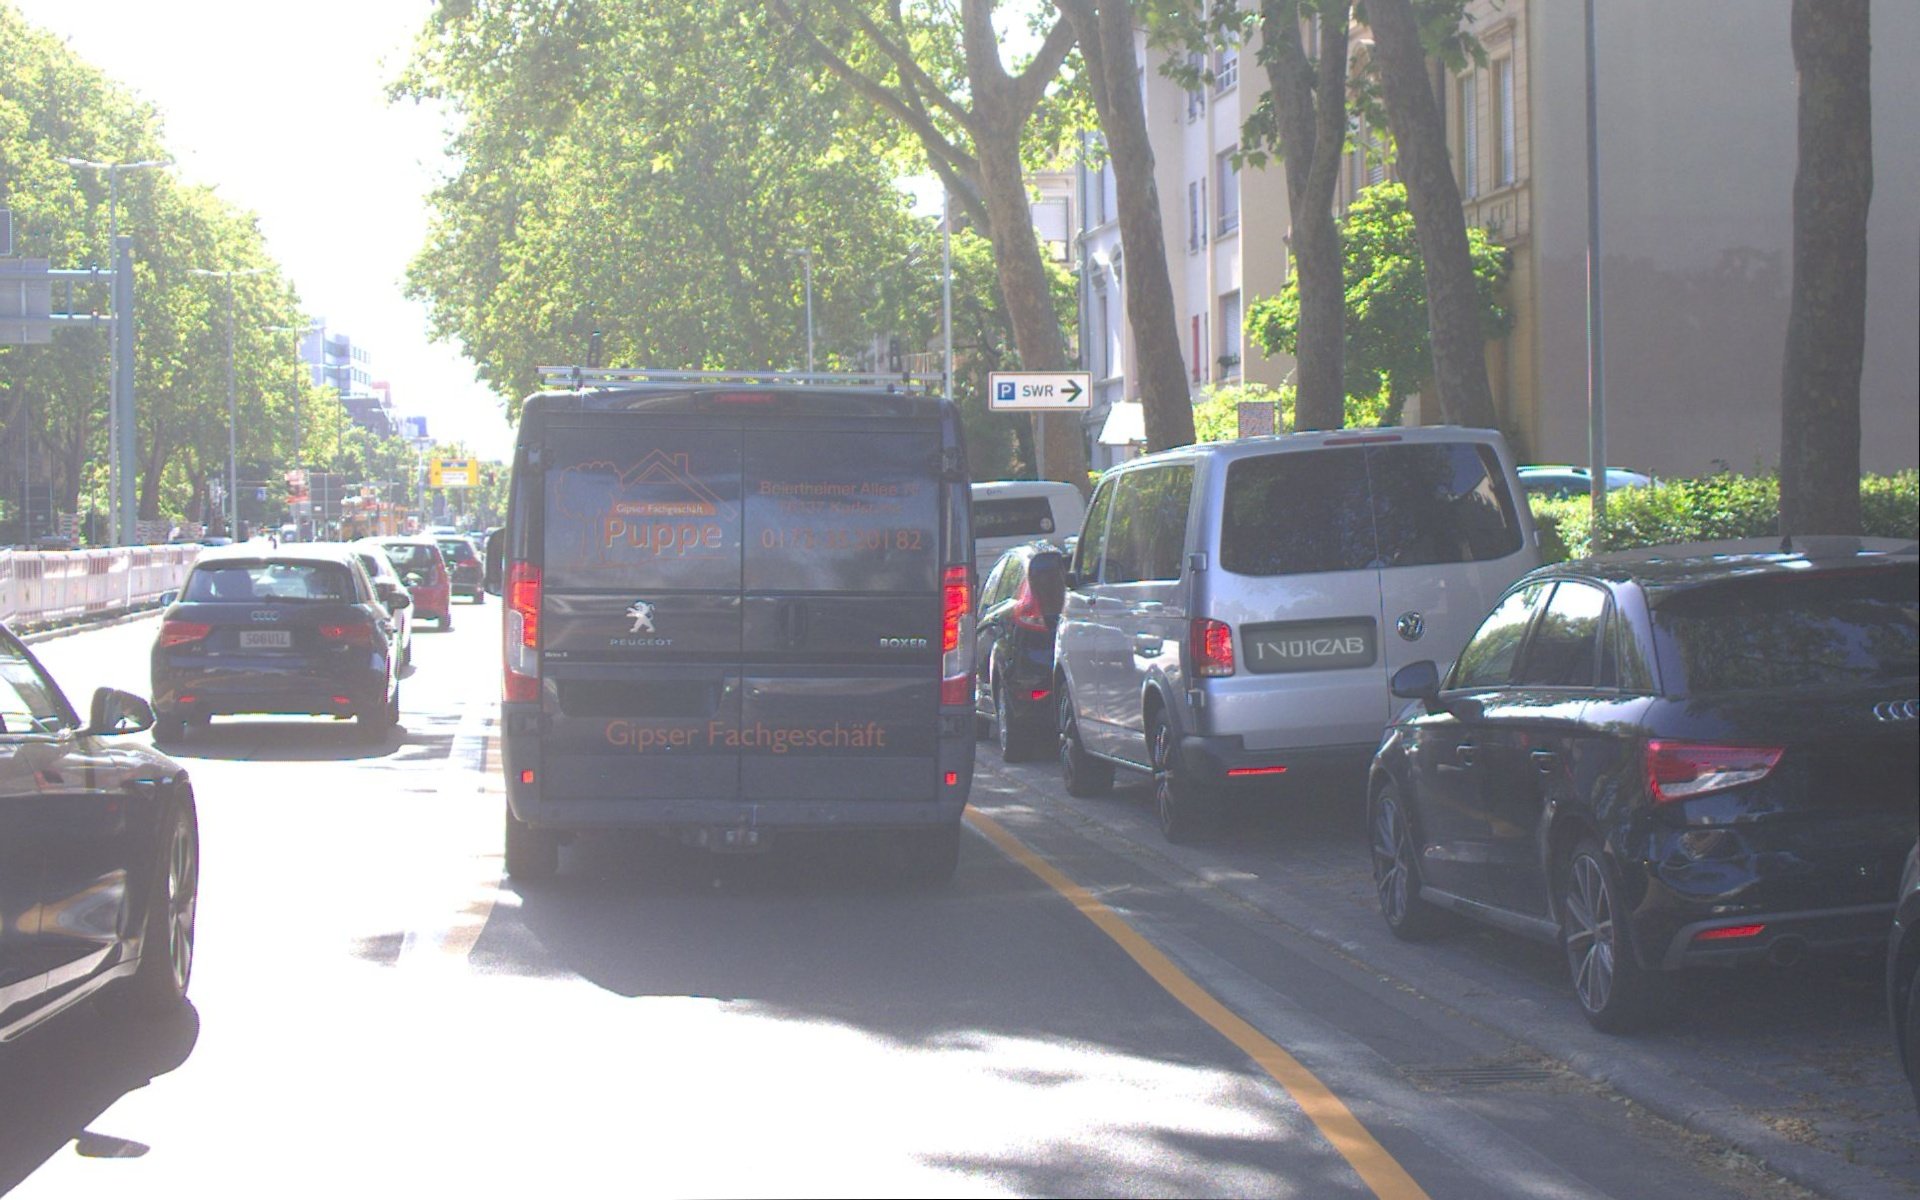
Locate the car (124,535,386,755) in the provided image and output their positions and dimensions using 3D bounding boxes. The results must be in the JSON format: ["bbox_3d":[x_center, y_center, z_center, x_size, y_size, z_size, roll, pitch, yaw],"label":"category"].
[{"bbox_3d":[-5.221,0.281,25.847,1.746,1.402,4.002,1,3,-9],"label":"car"}]

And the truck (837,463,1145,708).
[{"bbox_3d":[0.170,-0.150,29.271,1.876,1.875,4.455,-2,1,-9],"label":"truck"}]

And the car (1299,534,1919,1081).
[{"bbox_3d":[2.445,0.546,11.778,1.657,1.535,4.129,0,1,-7],"label":"car"}]

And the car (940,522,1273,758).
[{"bbox_3d":[0.934,0.216,24.122,1.747,1.472,4.102,-1,1,-6],"label":"car"}]

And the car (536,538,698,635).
[{"bbox_3d":[-4.707,-0.214,46.784,1.993,1.245,4.001,0,1,-9],"label":"car"}]

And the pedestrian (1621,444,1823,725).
[{"bbox_3d":[4.472,-0.104,20.239,0.727,1.597,1.268,-1,1,-10],"label":"pedestrian"}]

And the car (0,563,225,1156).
[{"bbox_3d":[-3.329,0.632,9.160,1.925,1.407,4.626,0,1,-2],"label":"car"}]

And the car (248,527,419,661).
[{"bbox_3d":[-6.988,-0.092,38.606,1.547,1.420,3.556,0,1,-5],"label":"car"}]

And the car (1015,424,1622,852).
[{"bbox_3d":[1.704,0.117,18.421,2.025,1.940,5.275,-1,1,-8],"label":"car"}]

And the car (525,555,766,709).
[{"bbox_3d":[-2.893,0.241,30.927,1.918,1.245,4.001,-1,1,-9],"label":"car"}]

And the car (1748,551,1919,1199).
[{"bbox_3d":[3.176,0.663,6.839,1.763,1.503,4.252,0,1,-7],"label":"car"}]

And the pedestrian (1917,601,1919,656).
[{"bbox_3d":[6.710,-0.424,22.216,0.705,1.643,0.675,2,3,-10],"label":"pedestrian"}]

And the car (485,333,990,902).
[{"bbox_3d":[-1.130,0.014,16.262,2.095,2.347,3.934,0,2,-6],"label":"car"}]

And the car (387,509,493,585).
[{"bbox_3d":[-11.344,-1.169,75.220,1.993,1.583,4.001,-1,1,-5],"label":"car"}]

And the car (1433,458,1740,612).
[{"bbox_3d":[7.845,-0.821,43.245,1.705,1.847,3.506,0,1,-40],"label":"car"}]

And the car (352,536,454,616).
[{"bbox_3d":[-8.921,-0.399,55.226,1.421,1.221,3.439,-1,1,-6],"label":"car"}]

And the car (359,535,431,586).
[{"bbox_3d":[-17.591,-1.244,107.088,1.993,1.465,4.001,1,2,-6],"label":"car"}]
